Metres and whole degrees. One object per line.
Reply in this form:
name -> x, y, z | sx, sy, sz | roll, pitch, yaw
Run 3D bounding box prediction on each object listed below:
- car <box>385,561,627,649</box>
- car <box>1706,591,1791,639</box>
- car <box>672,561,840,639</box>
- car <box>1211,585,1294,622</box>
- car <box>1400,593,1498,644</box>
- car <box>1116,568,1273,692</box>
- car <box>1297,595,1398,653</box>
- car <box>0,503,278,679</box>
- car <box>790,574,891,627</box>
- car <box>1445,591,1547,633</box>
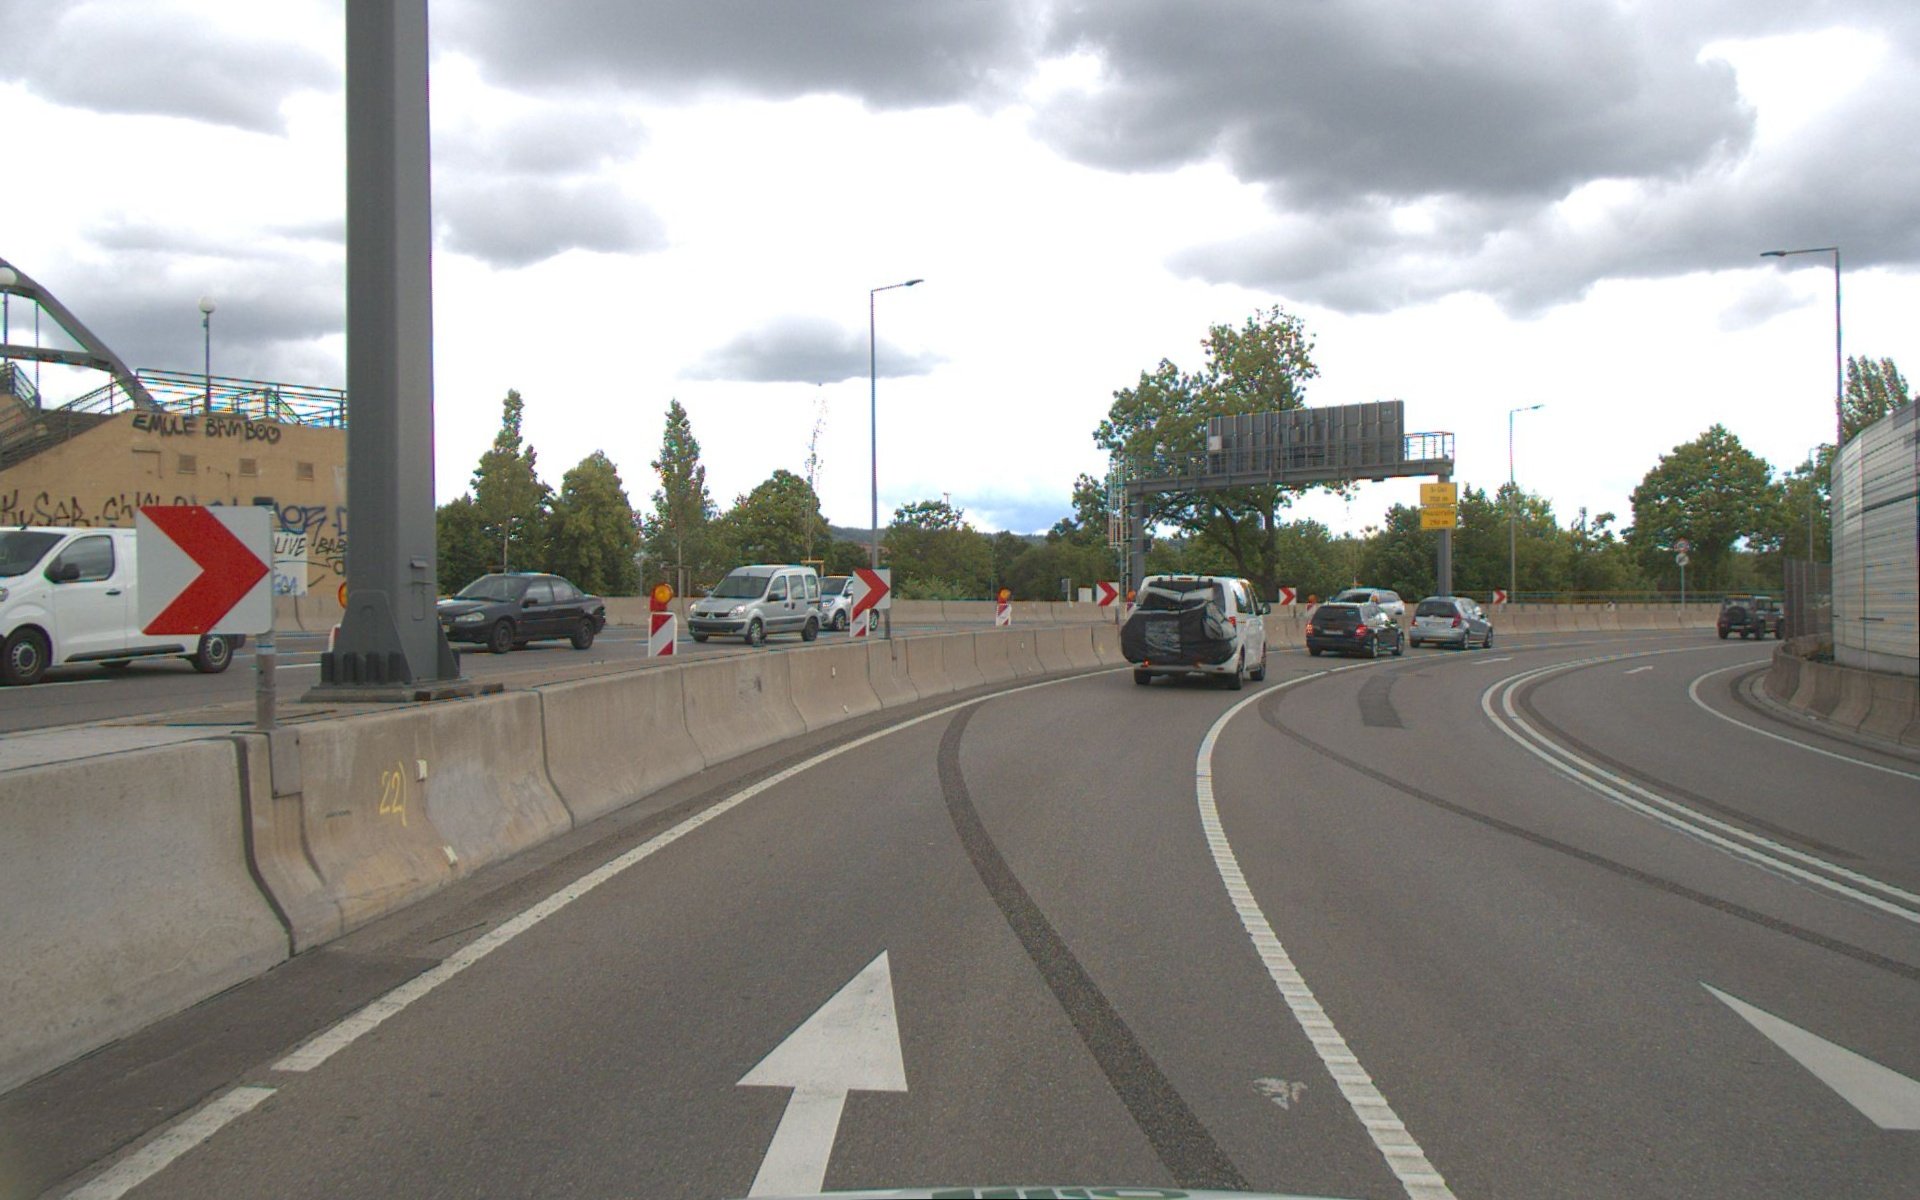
car -> -8.398, 0.087, 31.057 | 1.953, 1.514, 4.586 | 1, 0, 23
car -> 31.665, 0.598, 66.394 | 1.966, 1.892, 3.973 | 0, -1, 44
car -> -4.697, 0.005, 38.641 | 1.954, 1.715, 4.257 | 1, 0, 25
car -> 12.300, 0.138, 69.335 | 1.894, 1.476, 3.985 | 1, 0, 36
car -> 15.424, 0.536, 52.009 | 1.887, 1.515, 4.053 | 0, 1, 33
car -> 4.237, 0.453, 29.086 | 1.951, 1.891, 5.645 | 2, 1, 16
car -> 10.397, 0.627, 44.234 | 1.779, 1.459, 4.062 | -1, 0, 26
car -> -11.350, -0.109, 21.252 | 2.189, 1.986, 5.109 | 0, 0, 13
car -> -3.484, 0.005, 48.653 | 1.595, 1.501, 2.935 | 1, 0, 30
car -> 21.542, 0.462, 66.391 | 2.067, 1.579, 5.113 | 2, 1, 41
